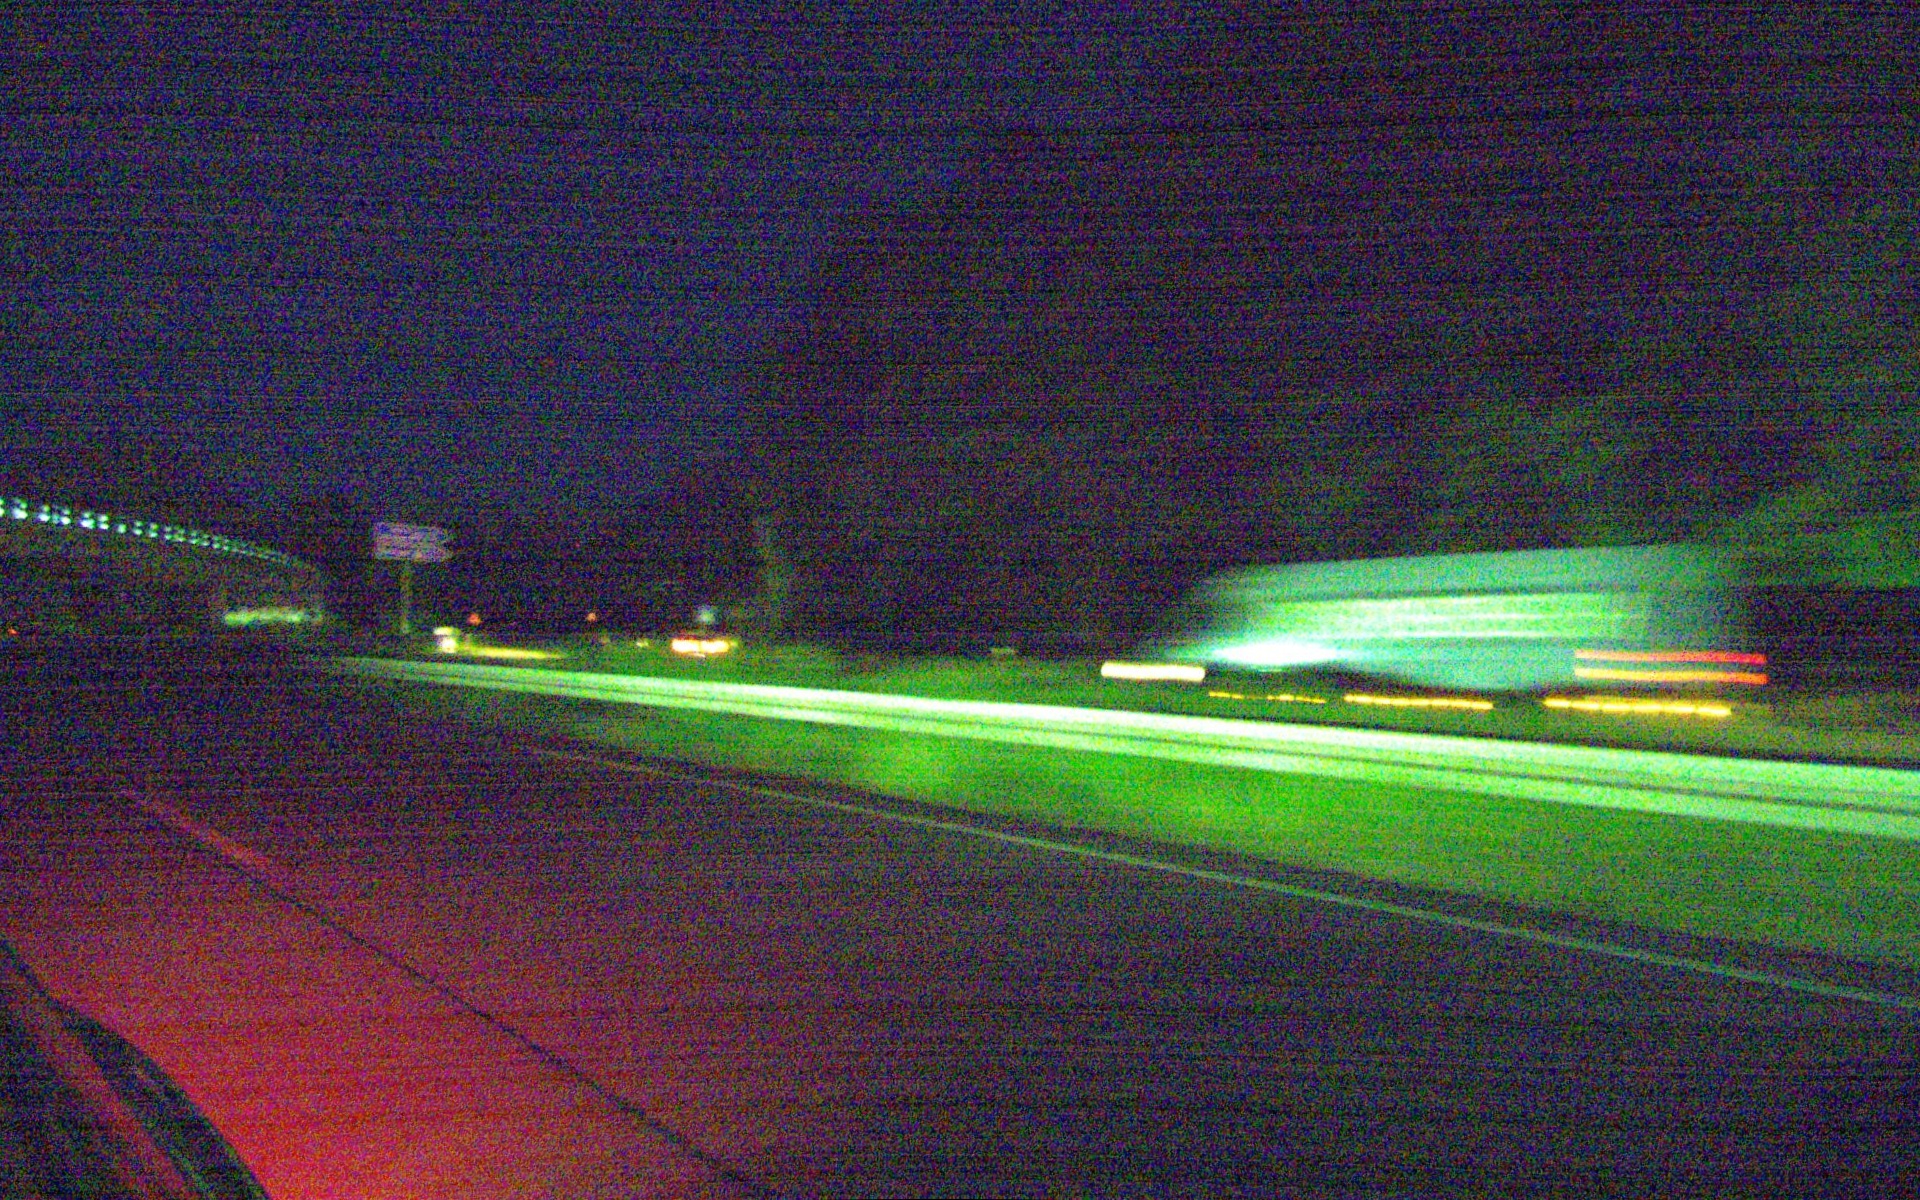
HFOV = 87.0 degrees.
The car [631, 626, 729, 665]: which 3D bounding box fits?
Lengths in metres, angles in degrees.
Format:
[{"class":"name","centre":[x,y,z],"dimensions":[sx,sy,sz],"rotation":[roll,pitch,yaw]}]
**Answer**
[{"class":"car","centre":[-11.108,1.779,40.025],"dimensions":[1.800,1.453,4.478],"rotation":[4,-4,-44]}]

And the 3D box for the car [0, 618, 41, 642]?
[{"class":"car","centre":[-67.245,2.100,71.873],"dimensions":[4.524,1.670,1.976],"rotation":[-1,-1,35]}]

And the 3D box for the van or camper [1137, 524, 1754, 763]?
[{"class":"van or camper","centre":[6.465,0.570,14.506],"dimensions":[7.658,2.637,2.271],"rotation":[-1,-3,40]}]
